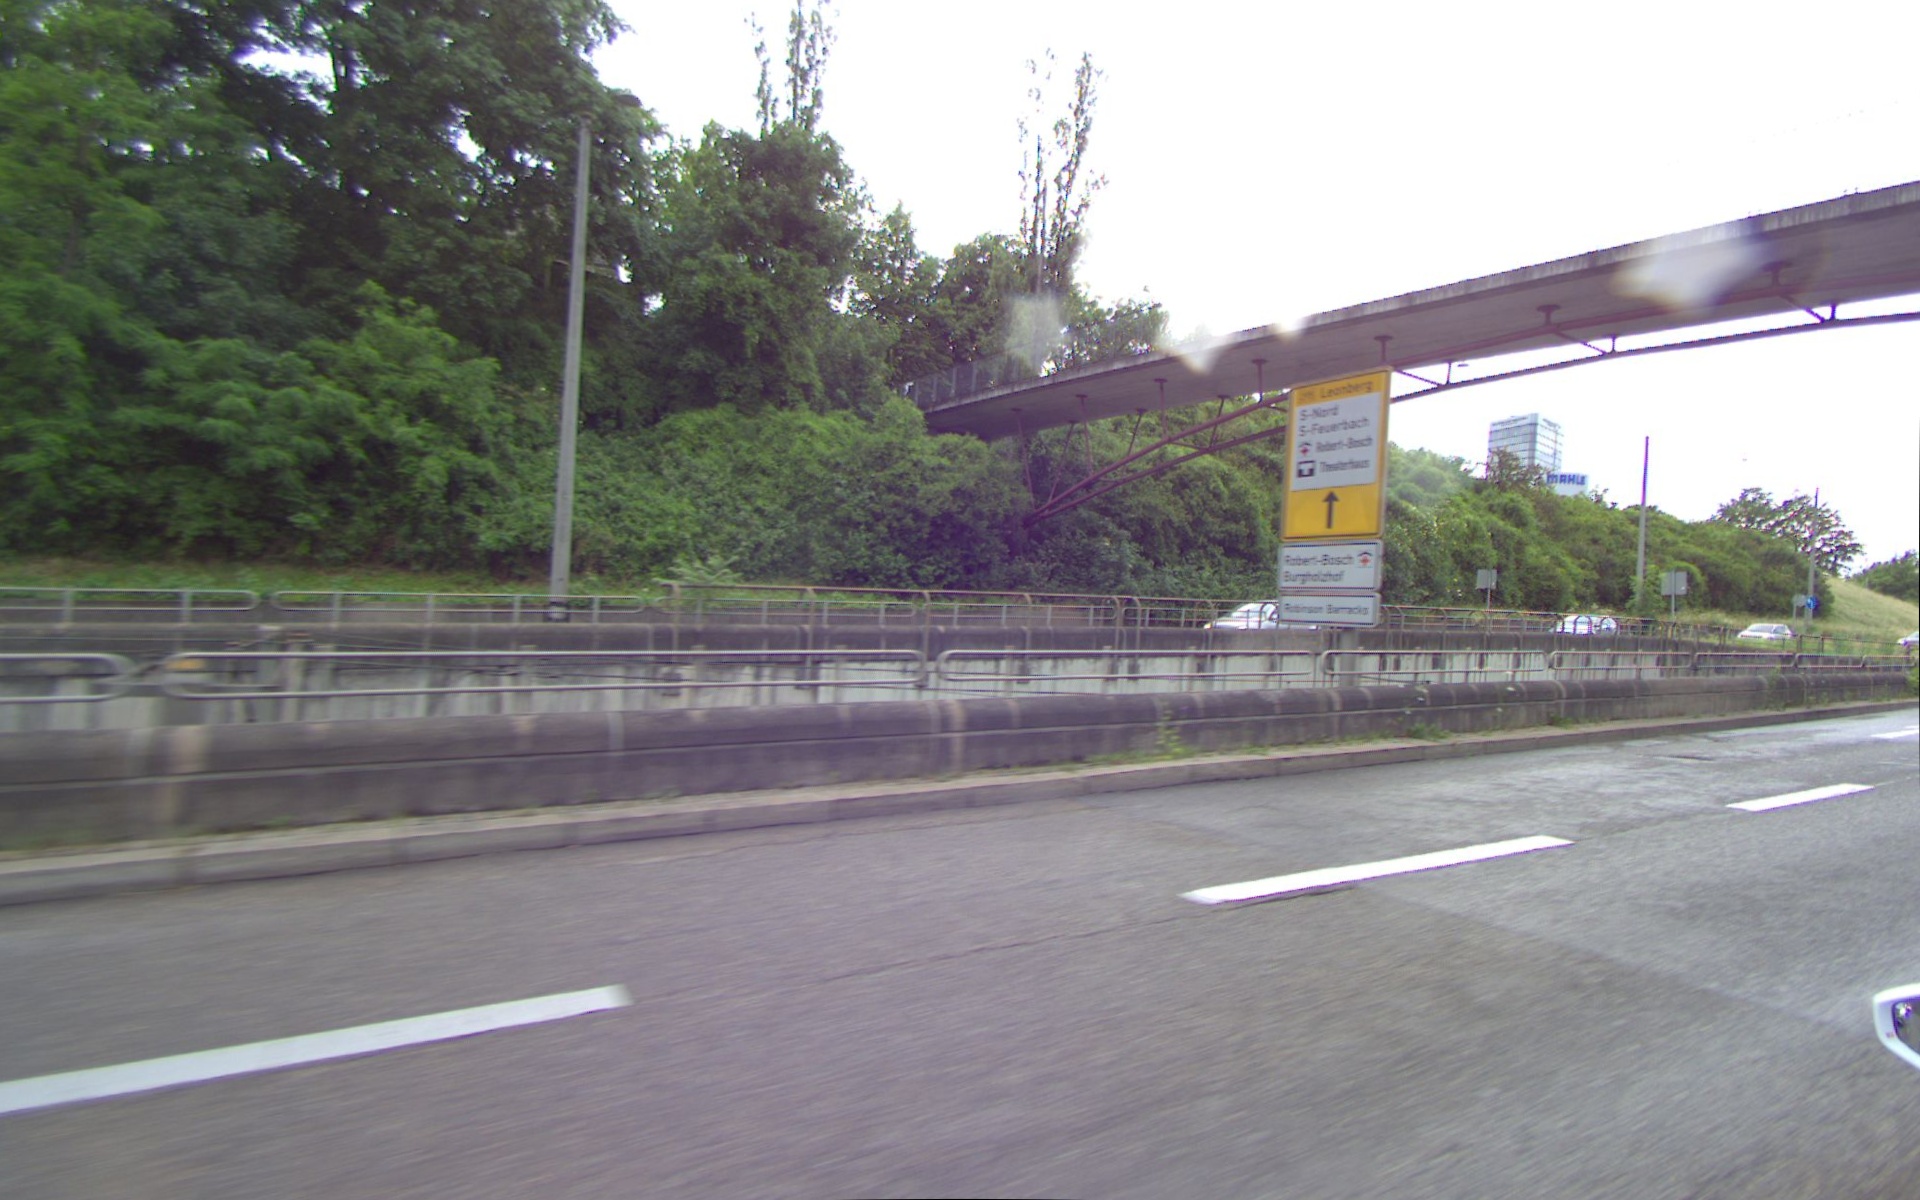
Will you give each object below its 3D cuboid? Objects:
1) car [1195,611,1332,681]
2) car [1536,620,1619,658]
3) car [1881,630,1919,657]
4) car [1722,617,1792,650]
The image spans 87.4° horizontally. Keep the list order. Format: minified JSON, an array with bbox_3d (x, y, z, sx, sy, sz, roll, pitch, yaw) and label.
[{"bbox_3d":[8.675,1.279,28.595,3.960,1.854,1.660,1,-2,-35],"label":"car"},{"bbox_3d":[29.927,1.899,48.603,4.664,1.744,1.978,3,-2,-38],"label":"car"},{"bbox_3d":[67.129,3.119,70.903,4.673,1.659,1.981,3,2,-34],"label":"car"},{"bbox_3d":[49.094,2.065,61.837,4.580,1.859,1.982,3,0,-33],"label":"car"}]
